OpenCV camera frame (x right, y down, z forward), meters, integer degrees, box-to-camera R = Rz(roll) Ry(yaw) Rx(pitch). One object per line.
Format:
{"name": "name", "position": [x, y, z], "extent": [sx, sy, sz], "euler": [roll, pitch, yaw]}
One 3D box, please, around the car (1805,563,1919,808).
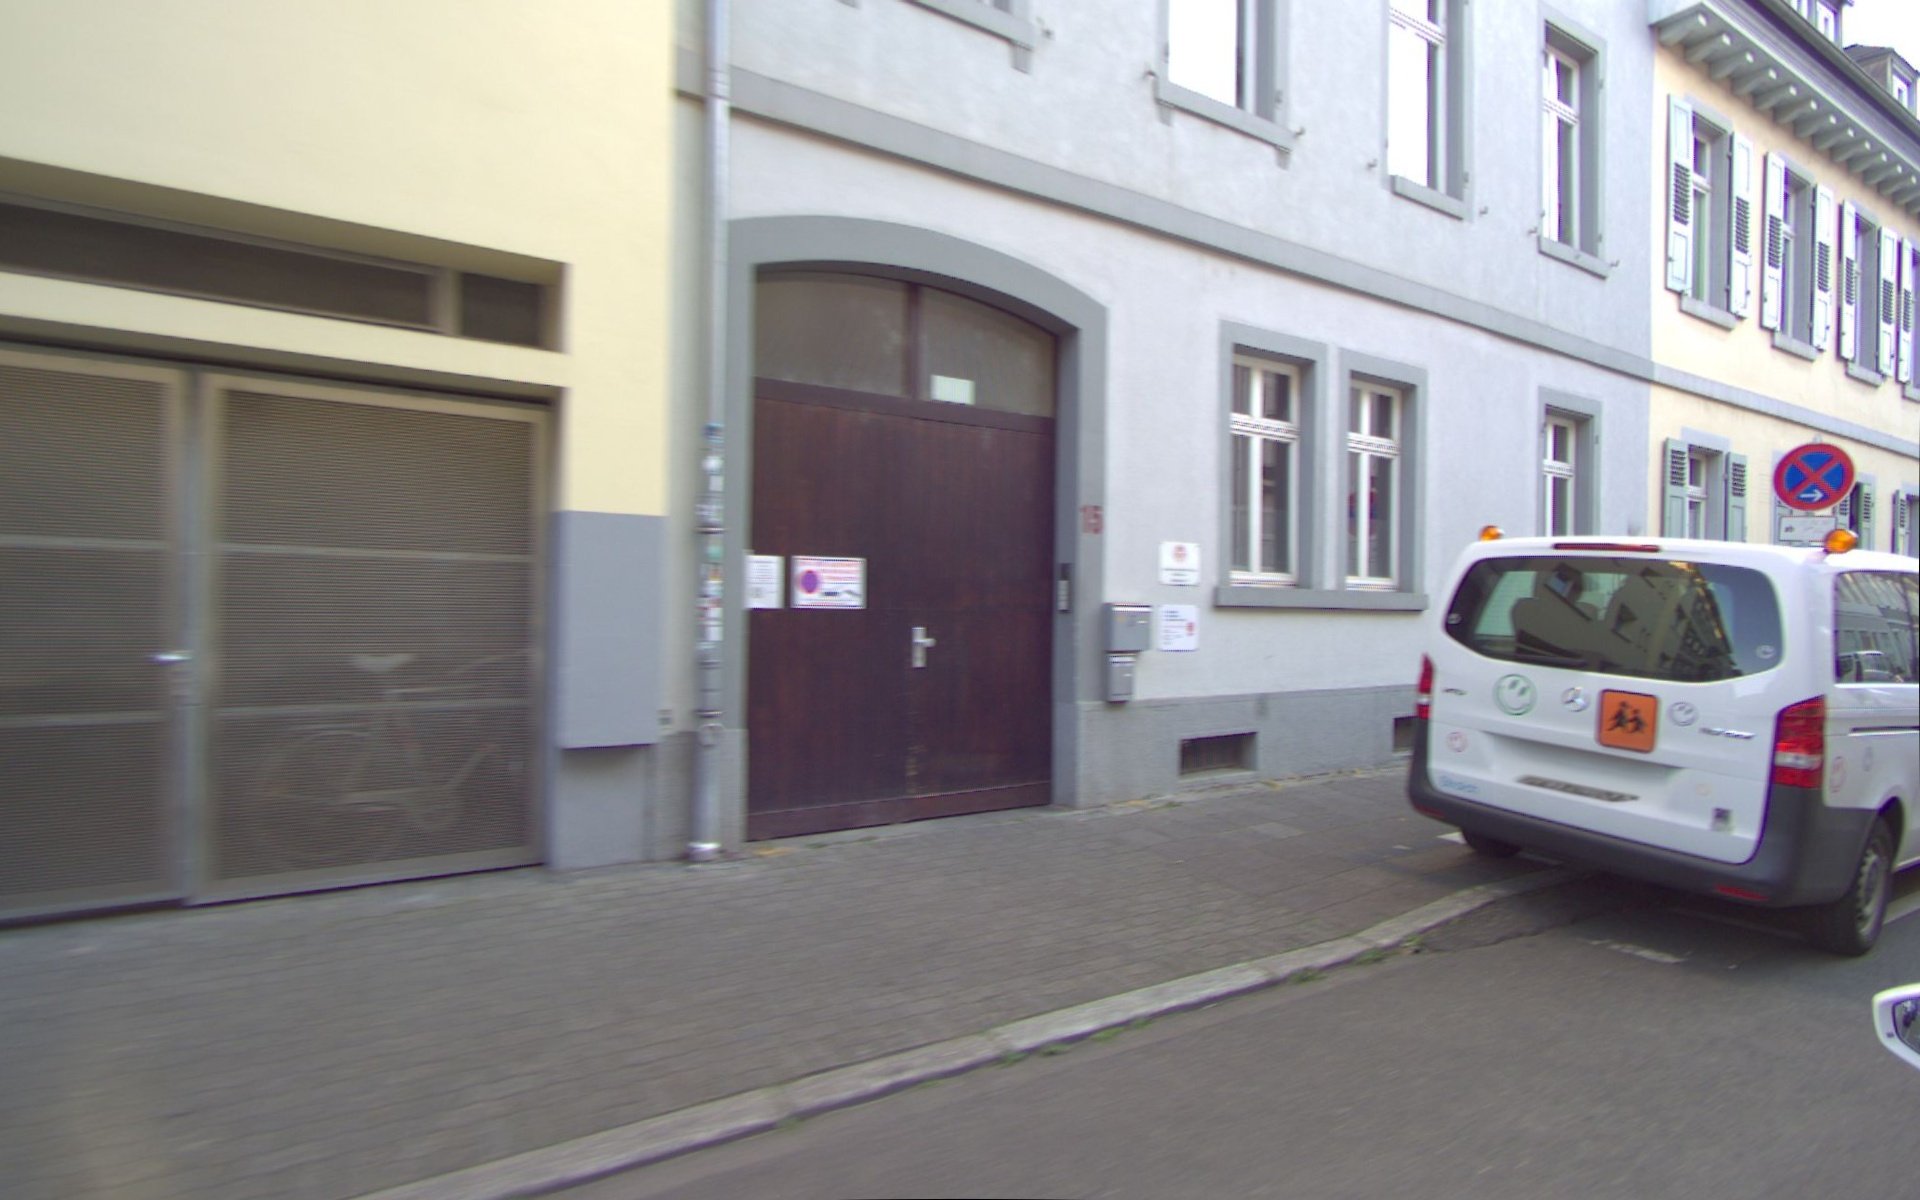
{"name": "car", "position": [10.041, 0.749, 9.558], "extent": [4.764, 2.040, 1.851], "euler": [1, 0, -34]}

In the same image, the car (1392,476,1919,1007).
{"name": "car", "position": [4.927, 0.587, 6.069], "extent": [5.053, 2.040, 1.851], "euler": [1, 0, -34]}
